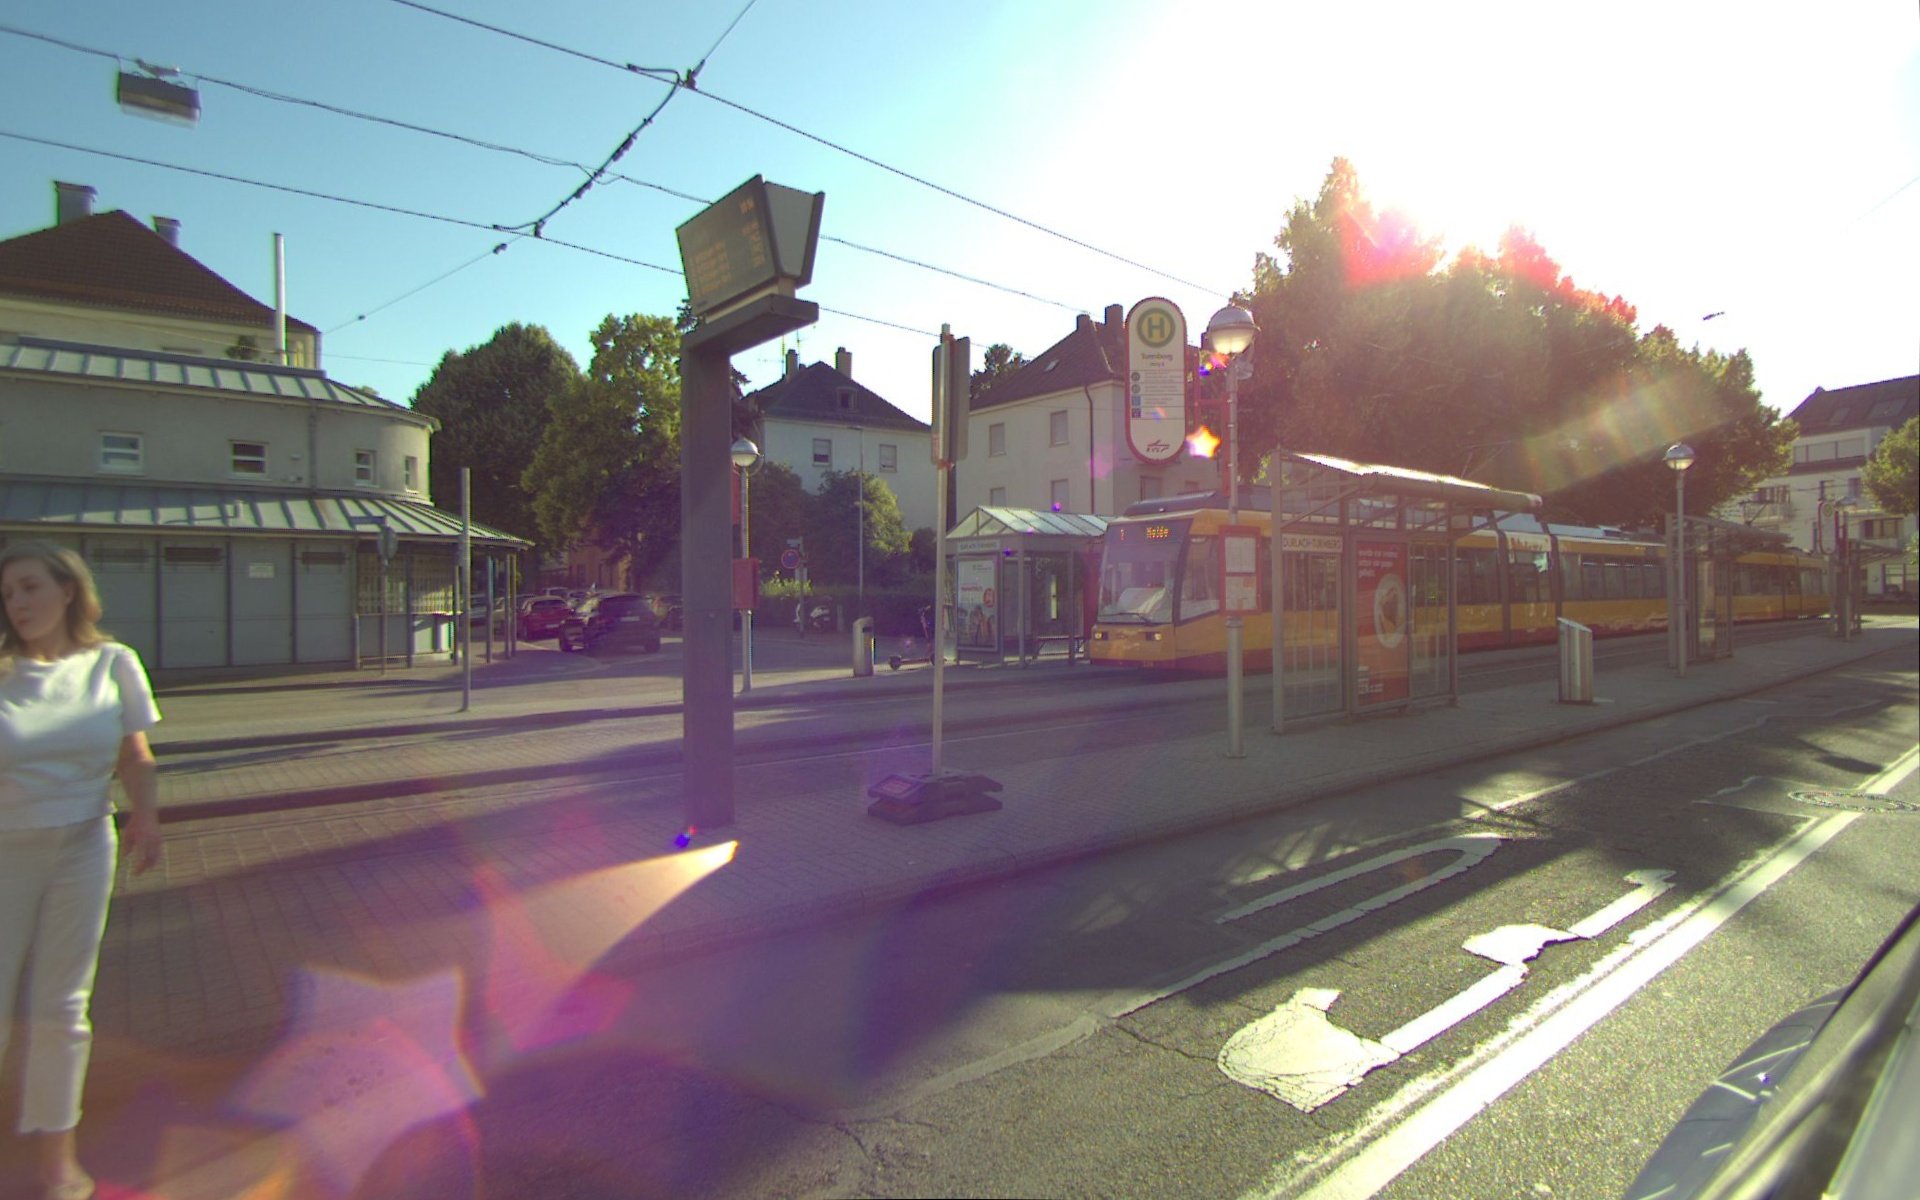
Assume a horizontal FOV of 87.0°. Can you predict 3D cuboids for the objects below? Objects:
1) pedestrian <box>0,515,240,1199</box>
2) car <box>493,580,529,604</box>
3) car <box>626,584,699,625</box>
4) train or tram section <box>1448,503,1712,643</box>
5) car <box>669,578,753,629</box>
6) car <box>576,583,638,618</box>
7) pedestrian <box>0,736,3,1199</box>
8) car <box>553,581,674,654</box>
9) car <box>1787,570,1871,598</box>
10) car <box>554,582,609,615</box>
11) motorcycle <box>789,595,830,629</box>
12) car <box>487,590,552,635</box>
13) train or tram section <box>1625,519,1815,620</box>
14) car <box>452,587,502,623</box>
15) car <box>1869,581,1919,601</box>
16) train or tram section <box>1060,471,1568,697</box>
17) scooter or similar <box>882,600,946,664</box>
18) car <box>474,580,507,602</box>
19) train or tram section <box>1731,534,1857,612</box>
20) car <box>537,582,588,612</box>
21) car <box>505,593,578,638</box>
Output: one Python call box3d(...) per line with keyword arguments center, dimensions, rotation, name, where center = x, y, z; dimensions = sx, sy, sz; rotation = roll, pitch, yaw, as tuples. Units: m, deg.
box3d(center=(-2.256, 0.631, 2.510), dimensions=(0.537, 1.633, 0.547), rotation=(-1, 0, 13), name="pedestrian")
box3d(center=(-34.627, -0.623, 77.967), dimensions=(1.961, 1.734, 4.002), rotation=(-2, 2, -33), name="car")
box3d(center=(-12.872, 0.165, 43.659), dimensions=(1.961, 1.618, 4.002), rotation=(-2, 2, -33), name="car")
box3d(center=(19.622, -0.903, 31.355), dimensions=(13.228, 3.578, 2.963), rotation=(-2, 2, -40), name="train or tram section")
box3d(center=(-9.676, 0.090, 39.101), dimensions=(1.961, 1.837, 4.002), rotation=(-2, 2, -33), name="car")
box3d(center=(-17.341, -0.007, 49.636), dimensions=(1.961, 1.618, 4.002), rotation=(-2, 2, -33), name="car")
box3d(center=(-2.437, 0.649, 1.979), dimensions=(0.537, 1.633, 0.633), rotation=(-1, 0, 13), name="pedestrian")
box3d(center=(-9.569, 0.404, 27.739), dimensions=(1.962, 1.791, 4.453), rotation=(-1, 2, -35), name="car")
box3d(center=(63.977, -1.187, 74.594), dimensions=(1.958, 1.981, 4.282), rotation=(-1, 1, -20), name="car")
box3d(center=(-20.349, -0.113, 54.351), dimensions=(1.961, 1.618, 4.002), rotation=(-2, 2, -33), name="car")
box3d(center=(-5.352, 0.410, 35.972), dimensions=(0.548, 1.177, 1.824), rotation=(0, 0, -41), name="motorcycle")
box3d(center=(-17.597, 0.445, 40.333), dimensions=(1.759, 1.642, 3.813), rotation=(-2, 2, -33), name="car")
box3d(center=(31.144, -1.138, 40.968), dimensions=(15.662, 3.464, 2.962), rotation=(-1, 1, -41), name="train or tram section")
box3d(center=(-23.965, 0.226, 50.129), dimensions=(1.759, 1.642, 3.813), rotation=(-2, 2, -33), name="car")
box3d(center=(65.699, -0.627, 69.755), dimensions=(1.895, 1.364, 4.133), rotation=(-1, 0, -13), name="car")
box3d(center=(8.762, -0.500, 22.204), dimensions=(15.690, 3.578, 2.963), rotation=(-2, 2, -40), name="train or tram section")
box3d(center=(-0.914, 0.626, 20.177), dimensions=(1.184, 1.223, 0.468), rotation=(-1, 0, -28), name="scooter or similar")
box3d(center=(-39.250, -0.767, 84.607), dimensions=(1.961, 1.734, 4.002), rotation=(-2, 2, -33), name="car")
box3d(center=(41.651, -1.258, 50.296), dimensions=(13.233, 3.464, 2.961), rotation=(-1, 1, -42), name="train or tram section")
box3d(center=(-23.014, -0.206, 58.494), dimensions=(1.961, 1.618, 4.002), rotation=(-2, 2, -33), name="car")
box3d(center=(-15.082, 0.513, 36.343), dimensions=(1.759, 1.406, 3.813), rotation=(-2, 2, -33), name="car")
